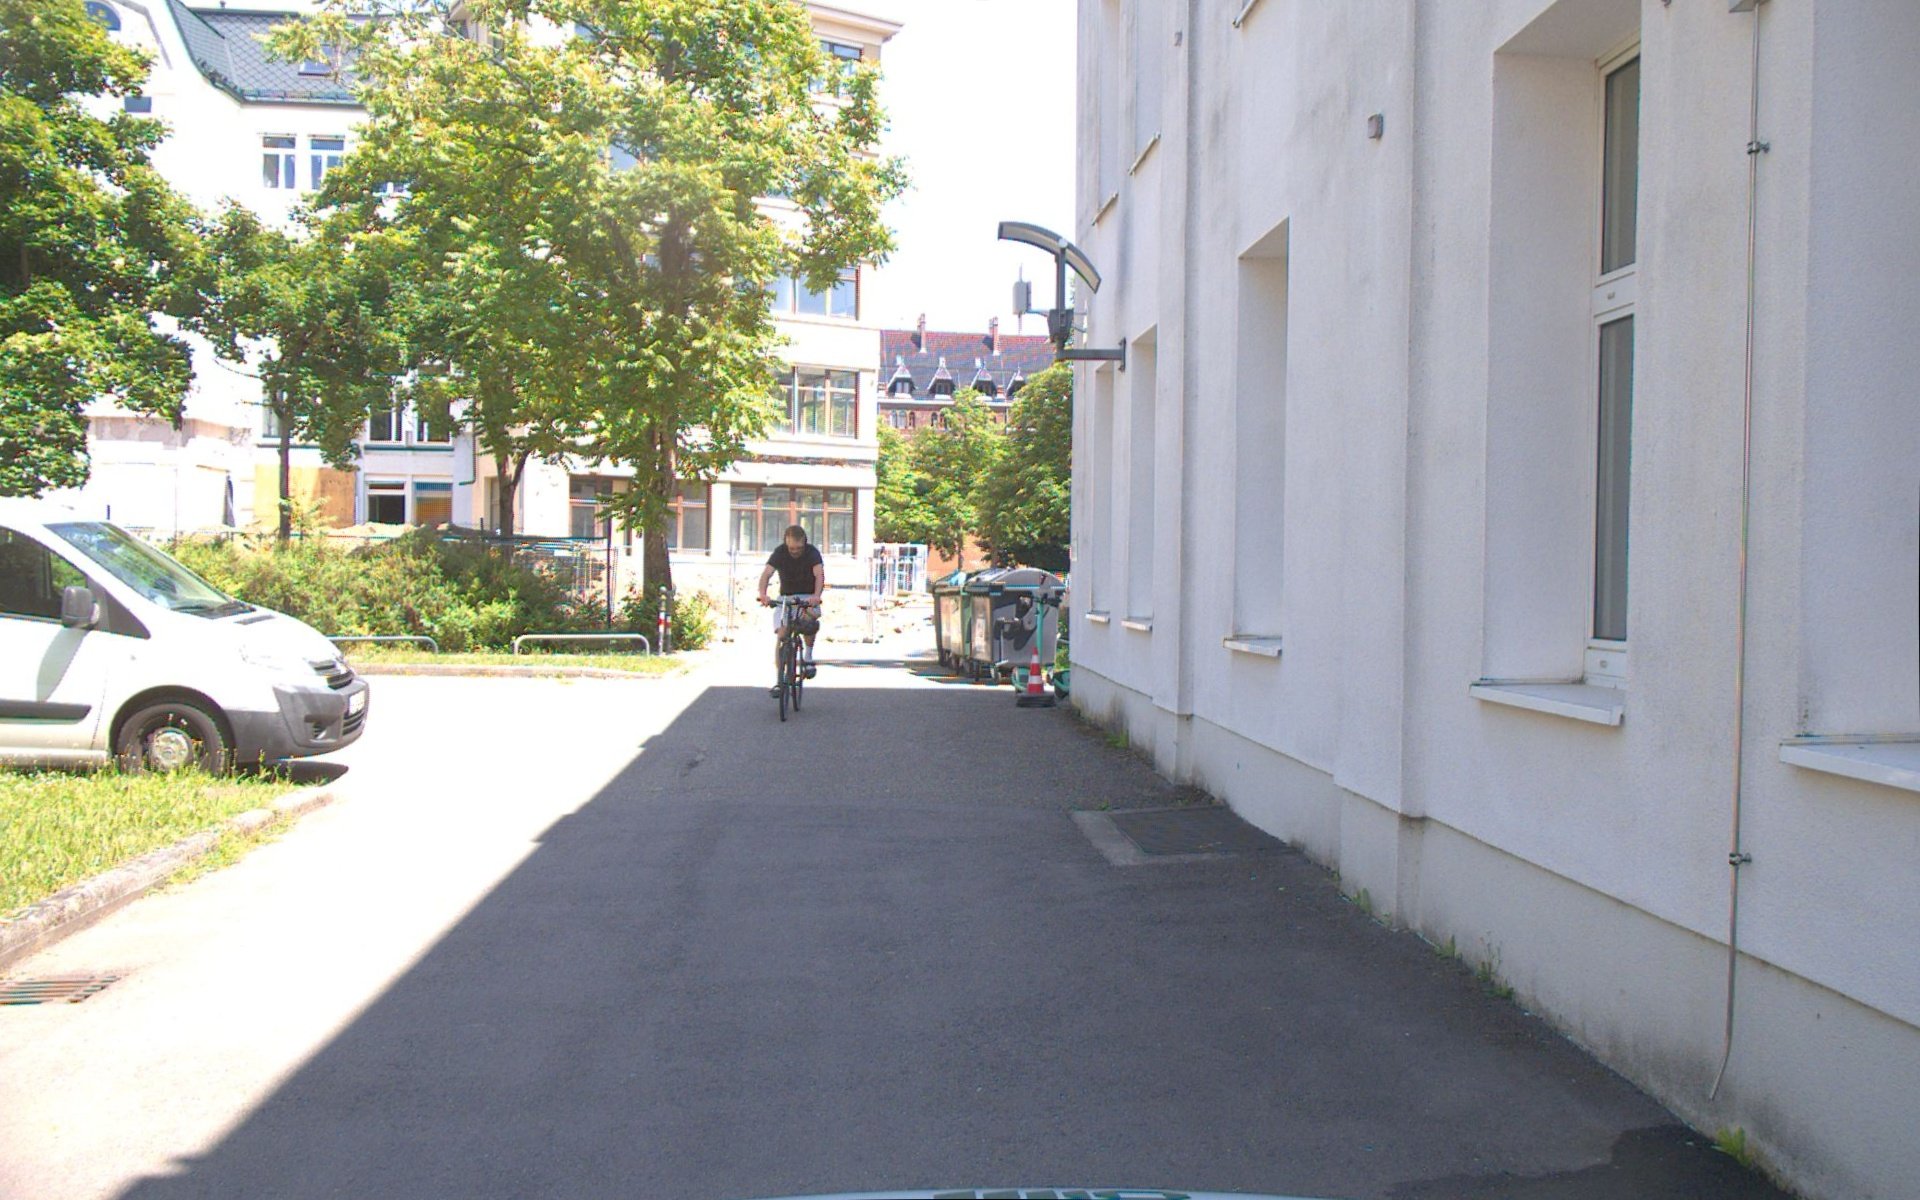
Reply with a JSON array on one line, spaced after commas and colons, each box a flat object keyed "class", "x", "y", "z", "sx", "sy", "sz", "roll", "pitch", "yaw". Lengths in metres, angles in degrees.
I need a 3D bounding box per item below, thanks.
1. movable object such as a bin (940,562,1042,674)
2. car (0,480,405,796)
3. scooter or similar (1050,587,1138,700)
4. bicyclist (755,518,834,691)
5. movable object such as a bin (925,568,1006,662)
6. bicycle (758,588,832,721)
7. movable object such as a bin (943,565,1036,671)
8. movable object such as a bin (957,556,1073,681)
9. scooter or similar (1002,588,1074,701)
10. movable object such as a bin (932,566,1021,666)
[{"class": "movable object such as a bin", "x": 0.415, "y": 0.250, "z": 22.892, "sx": 1.157, "sy": 1.495, "sz": 1.308, "roll": 1, "pitch": 0, "yaw": -11}, {"class": "car", "x": -6.362, "y": 0.238, "z": 11.117, "sx": 4.700, "sy": 1.945, "sz": 1.996, "roll": 0, "pitch": 0, "yaw": -10}, {"class": "scooter or similar", "x": 1.460, "y": 0.458, "z": 18.170, "sx": 0.457, "sy": 1.194, "sz": 1.248, "roll": 0, "pitch": 0, "yaw": -21}, {"class": "bicyclist", "x": -1.633, "y": 0.037, "z": 16.241, "sx": 0.709, "sy": 1.637, "sz": 0.976, "roll": 1, "pitch": 1, "yaw": -8}, {"class": "movable object such as a bin", "x": 0.106, "y": 0.241, "z": 27.243, "sx": 1.154, "sy": 1.495, "sz": 1.334, "roll": 1, "pitch": 0, "yaw": 7}, {"class": "bicycle", "x": -1.645, "y": 0.501, "z": 16.264, "sx": 0.632, "sy": 1.194, "sz": 1.901, "roll": 1, "pitch": 1, "yaw": -8}, {"class": "movable object such as a bin", "x": 0.413, "y": 0.266, "z": 24.280, "sx": 1.157, "sy": 1.495, "sz": 1.309, "roll": 1, "pitch": 0, "yaw": -8}, {"class": "movable object such as a bin", "x": 0.688, "y": 0.233, "z": 21.162, "sx": 1.135, "sy": 1.532, "sz": 1.458, "roll": 1, "pitch": 0, "yaw": -13}, {"class": "scooter or similar", "x": 0.846, "y": 0.473, "z": 18.263, "sx": 0.455, "sy": 1.194, "sz": 1.353, "roll": 0, "pitch": 0, "yaw": -13}, {"class": "movable object such as a bin", "x": 0.235, "y": 0.248, "z": 25.710, "sx": 1.157, "sy": 1.495, "sz": 1.308, "roll": 1, "pitch": 0, "yaw": -10}]
